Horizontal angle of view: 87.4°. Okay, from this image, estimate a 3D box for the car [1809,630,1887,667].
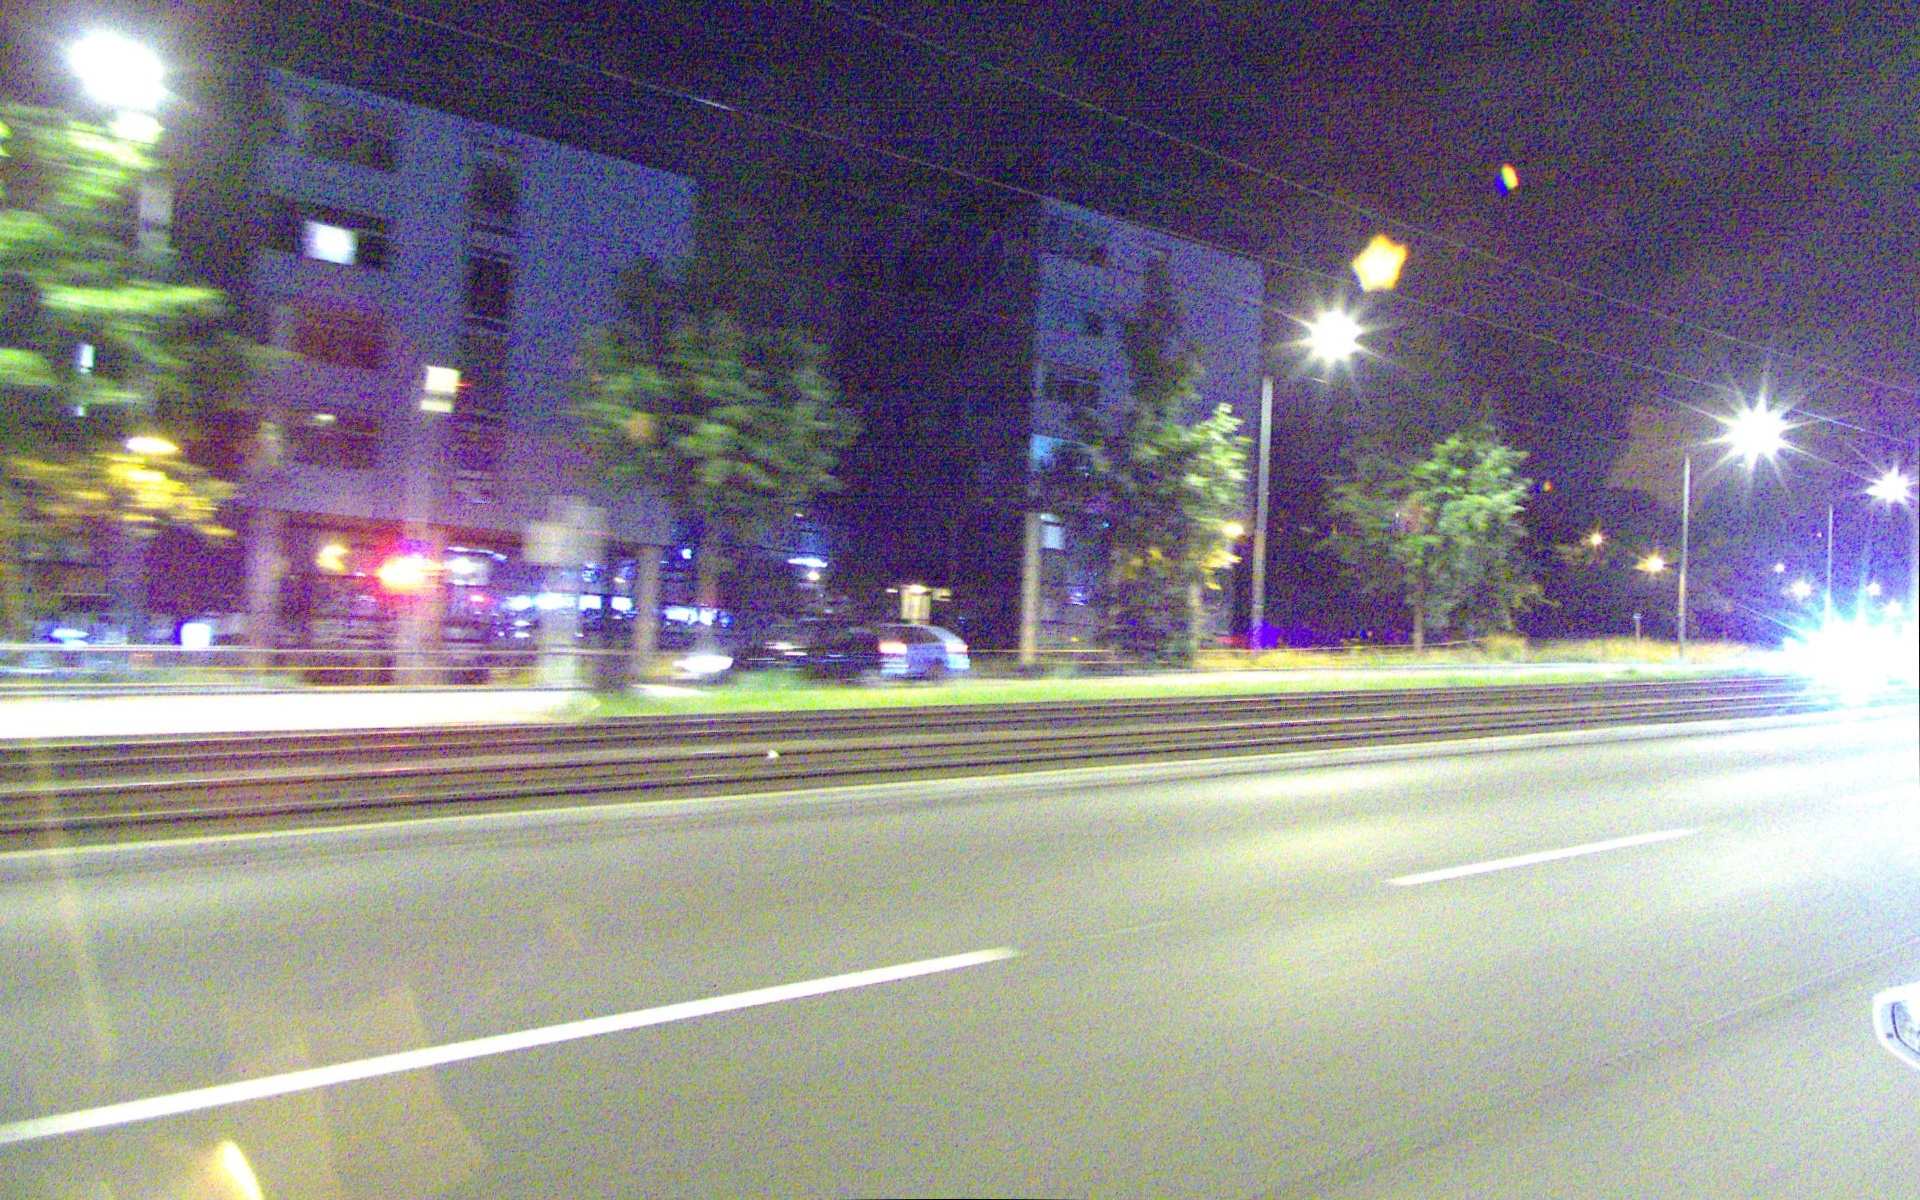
[{"bbox_3d":[44.668,2.460,50.499,4.179,1.736,1.770,2,-1,-31],"label":"car"}]

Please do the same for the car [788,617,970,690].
[{"bbox_3d":[-1.869,1.241,23.373,3.864,1.536,1.653,2,-1,-29],"label":"car"}]

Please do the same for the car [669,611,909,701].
[{"bbox_3d":[-3.222,1.083,19.182,4.128,1.516,1.775,3,-2,-32],"label":"car"}]
